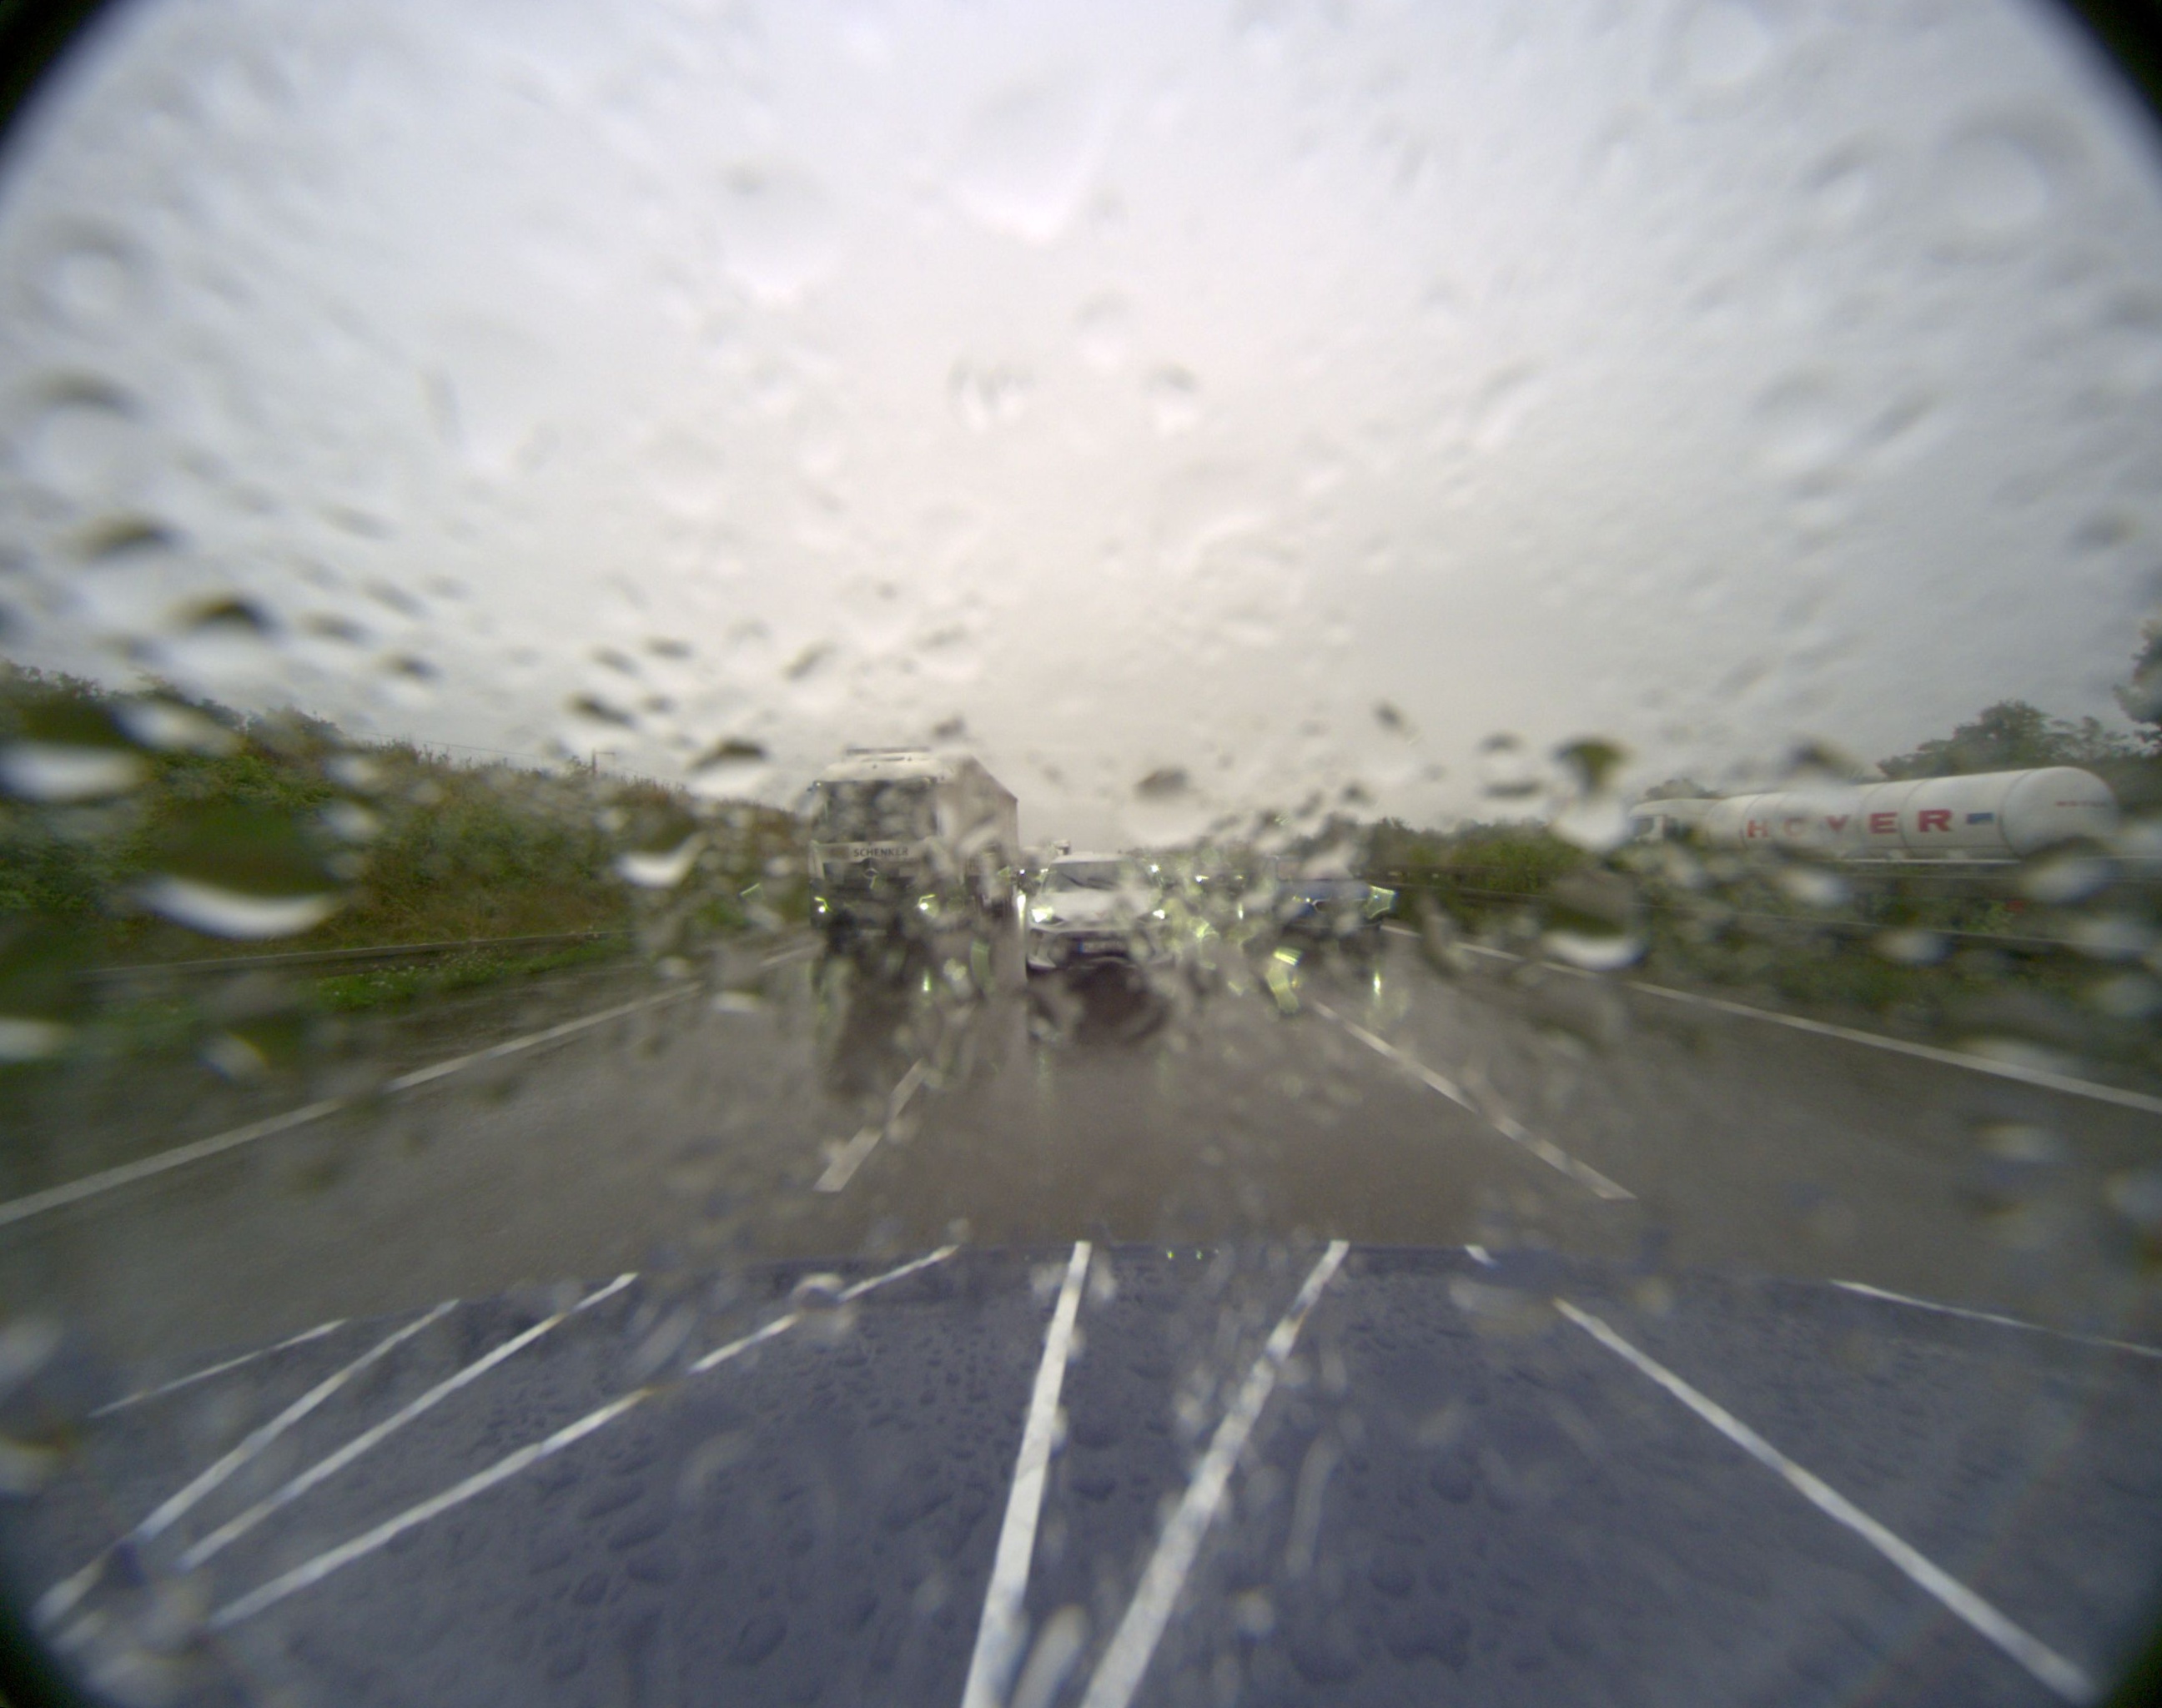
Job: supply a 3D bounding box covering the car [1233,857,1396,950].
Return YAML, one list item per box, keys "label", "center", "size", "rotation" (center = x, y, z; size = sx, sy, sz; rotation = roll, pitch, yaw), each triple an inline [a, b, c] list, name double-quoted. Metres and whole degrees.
- label: "car"
  center: [4.326, 0.830, 14.839]
  size: [1.790, 1.467, 4.512]
  rotation: [-2, 0, 0]

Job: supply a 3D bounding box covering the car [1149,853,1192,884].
- label: "car"
  center: [4.989, 0.781, 42.792]
  size: [1.889, 1.622, 4.269]
  rotation: [-2, 0, 0]

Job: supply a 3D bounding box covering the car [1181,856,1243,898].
- label: "car"
  center: [4.900, 0.805, 28.970]
  size: [1.613, 1.428, 4.370]
  rotation: [-2, 0, 0]

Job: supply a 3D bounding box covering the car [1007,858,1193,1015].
- label: "car"
  center: [0.213, 0.876, 9.930]
  size: [1.893, 1.578, 4.000]
  rotation: [-2, 0, 0]

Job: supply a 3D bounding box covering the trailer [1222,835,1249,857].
- label: "trailer"
  center: [22.009, -1.089, 108.636]
  size: [1.998, 3.064, 9.554]
  rotation: [-2, 0, 0]

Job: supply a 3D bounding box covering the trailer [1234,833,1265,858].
- label: "trailer"
  center: [21.939, -1.070, 99.424]
  size: [1.998, 3.064, 8.871]
  rotation: [-2, 0, 0]

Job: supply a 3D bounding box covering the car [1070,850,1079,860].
- label: "car"
  center: [-1.658, 0.274, 190.268]
  size: [1.998, 2.429, 3.999]
  rotation: [0, 2, 1]

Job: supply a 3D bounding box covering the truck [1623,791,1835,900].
- label: "truck"
  center: [21.293, -0.285, 25.407]
  size: [2.548, 3.261, 5.197]
  rotation: [0, 1, 0]

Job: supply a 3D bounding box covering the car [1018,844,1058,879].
- label: "car"
  center: [-2.584, 0.437, 46.802]
  size: [1.946, 2.002, 4.446]
  rotation: [-2, 1, 2]

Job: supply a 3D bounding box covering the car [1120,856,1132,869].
- label: "car"
  center: [5.708, 1.123, 96.931]
  size: [1.458, 1.540, 2.804]
  rotation: [0, 2, 1]

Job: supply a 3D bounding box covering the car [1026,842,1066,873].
- label: "car"
  center: [-2.411, 0.236, 53.211]
  size: [2.260, 2.002, 4.270]
  rotation: [-2, 1, 3]

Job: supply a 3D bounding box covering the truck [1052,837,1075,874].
- label: "truck"
  center: [-2.244, 0.246, 99.052]
  size: [2.628, 4.635, 4.290]
  rotation: [-2, 0, 1]

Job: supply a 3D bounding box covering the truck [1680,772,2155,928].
- label: "truck"
  center: [21.262, -0.197, 20.659]
  size: [2.561, 3.279, 9.346]
  rotation: [0, 2, 0]

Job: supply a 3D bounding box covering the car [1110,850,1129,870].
- label: "car"
  center: [4.056, 0.580, 79.926]
  size: [1.737, 2.002, 4.223]
  rotation: [-2, 0, 0]

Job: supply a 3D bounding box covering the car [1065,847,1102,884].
- label: "car"
  center: [0.185, 0.656, 44.706]
  size: [1.998, 2.002, 4.000]
  rotation: [-2, 0, 1]

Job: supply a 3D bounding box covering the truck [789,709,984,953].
- label: "truck"
  center: [-3.753, -0.428, 15.966]
  size: [2.633, 4.229, 5.042]
  rotation: [-2, 1, 0]

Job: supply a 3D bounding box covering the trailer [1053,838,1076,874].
- label: "trailer"
  center: [-2.167, 0.288, 103.999]
  size: [2.628, 4.635, 9.221]
  rotation: [-2, 0, 1]

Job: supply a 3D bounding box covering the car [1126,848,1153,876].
- label: "car"
  center: [4.379, 0.604, 57.485]
  size: [1.888, 2.002, 4.270]
  rotation: [-2, 0, 3]

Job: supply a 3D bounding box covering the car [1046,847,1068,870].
- label: "car"
  center: [-2.486, 0.476, 78.970]
  size: [1.998, 2.231, 4.000]
  rotation: [-2, 0, 0]

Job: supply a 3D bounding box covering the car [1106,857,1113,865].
- label: "car"
  center: [6.093, 1.458, 160.851]
  size: [1.279, 1.567, 2.848]
  rotation: [-2, 0, 0]

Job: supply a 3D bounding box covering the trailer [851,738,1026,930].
- label: "trailer"
  center: [-3.696, -0.502, 24.157]
  size: [2.633, 4.224, 14.175]
  rotation: [-2, 1, 0]
